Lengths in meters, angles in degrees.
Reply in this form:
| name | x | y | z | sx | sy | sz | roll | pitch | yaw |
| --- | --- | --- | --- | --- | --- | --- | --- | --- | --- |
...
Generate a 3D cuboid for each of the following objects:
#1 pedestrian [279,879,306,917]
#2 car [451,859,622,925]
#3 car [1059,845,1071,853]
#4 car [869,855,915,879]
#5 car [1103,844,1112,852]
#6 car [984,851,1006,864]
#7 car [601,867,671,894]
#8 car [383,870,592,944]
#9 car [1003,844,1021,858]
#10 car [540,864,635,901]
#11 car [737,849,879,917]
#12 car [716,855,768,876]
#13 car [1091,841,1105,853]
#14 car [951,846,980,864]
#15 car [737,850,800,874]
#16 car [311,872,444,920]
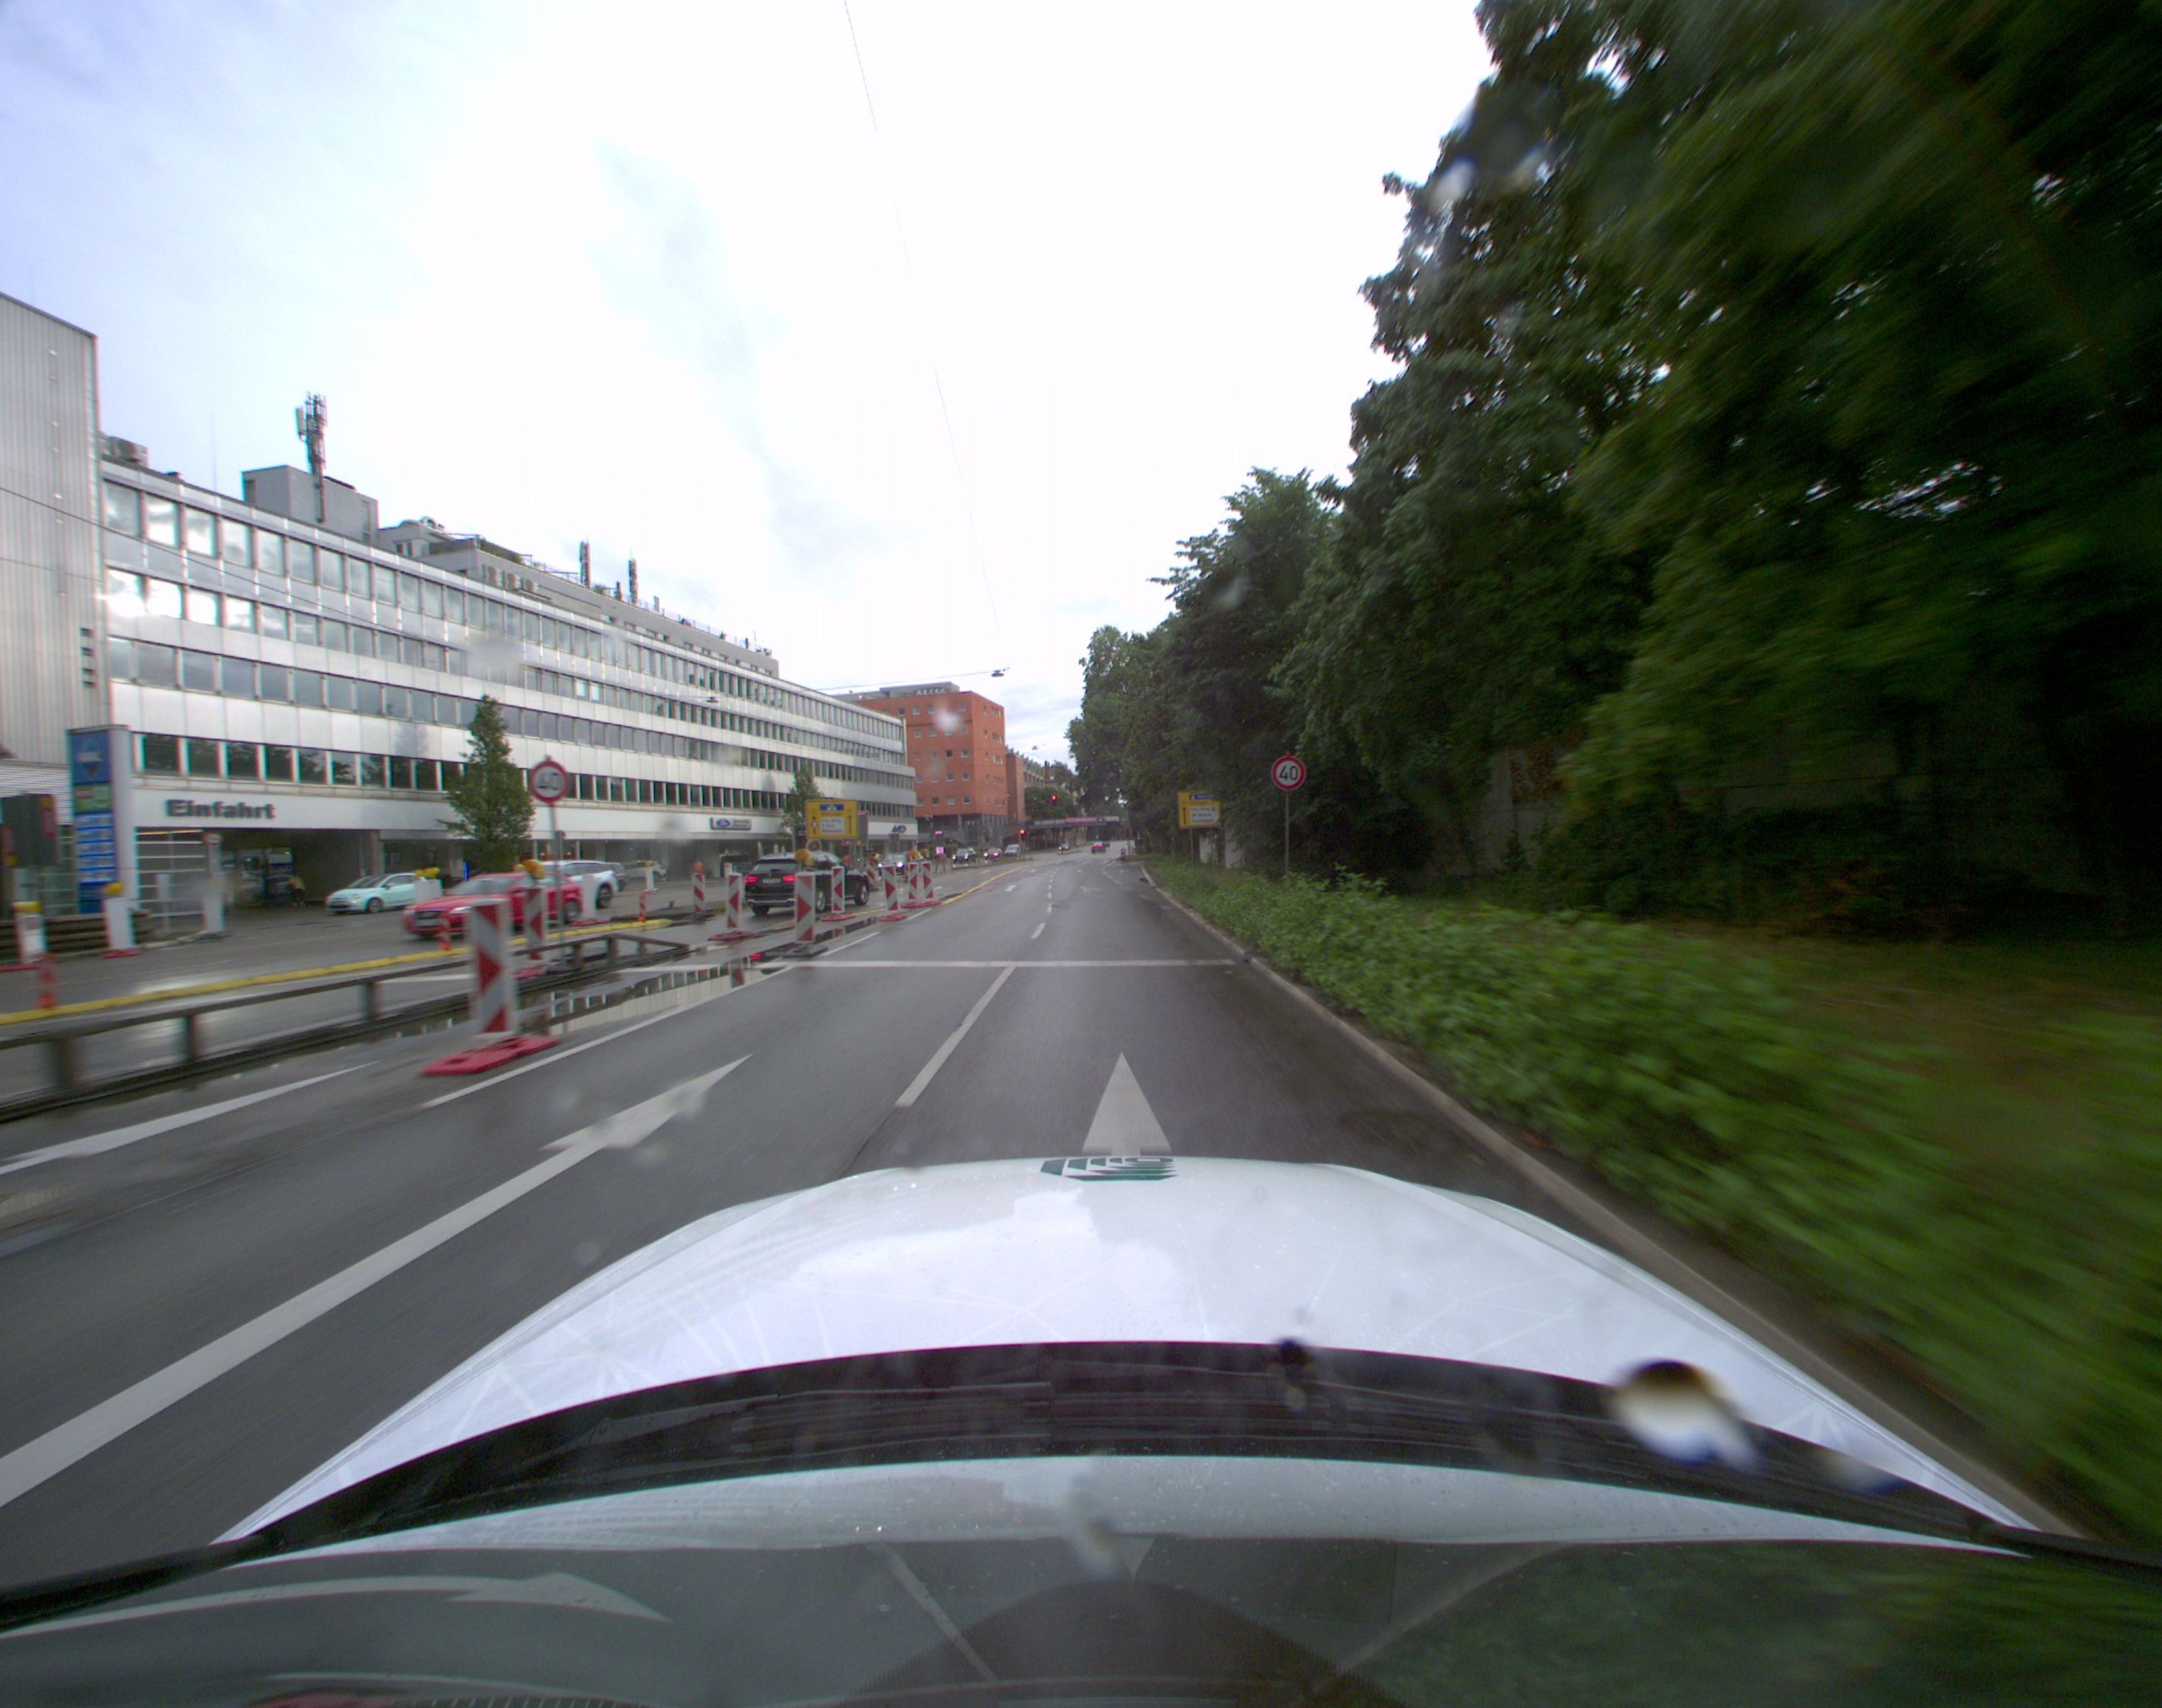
| name | x | y | z | sx | sy | sz | roll | pitch | yaw |
| --- | --- | --- | --- | --- | --- | --- | --- | --- | --- |
| pedestrian | -37.088 | 2.051 | 38.310 | 0.671 | 1.720 | 0.700 | -4 | 0 | -32 |
| car | -17.002 | 1.101 | 25.813 | 1.972 | 1.707 | 4.833 | -3 | 0 | 1 |
| car | -3.208 | -0.969 | 167.713 | 1.984 | 1.519 | 4.005 | -2 | 1 | 5 |
| car | -12.581 | 0.821 | 54.437 | 1.681 | 1.354 | 4.120 | -4 | 0 | 4 |
| car | 5.915 | -1.449 | 183.358 | 1.755 | 1.696 | 3.710 | -4 | 0 | 4 |
| car | -11.008 | 0.437 | 104.498 | 1.821 | 1.502 | 4.380 | -4 | 0 | 5 |
| car | -32.683 | 1.923 | 59.847 | 4.402 | 1.651 | 1.835 | -4 | 0 | -32 |
| car | -14.013 | 1.172 | 19.598 | 1.729 | 1.404 | 4.291 | -2 | 0 | 1 |
| car | -9.788 | -0.466 | 116.388 | 1.725 | 1.786 | 4.308 | -4 | 0 | 5 |
| car | -28.708 | 1.623 | 47.576 | 1.835 | 1.779 | 4.747 | -4 | 0 | 13 |
| car | -7.521 | 0.724 | 23.028 | 1.937 | 1.597 | 4.680 | 0 | 2 | 7 |
| car | -29.766 | 1.012 | 71.513 | 4.007 | 1.574 | 1.984 | -4 | 0 | -25 |
| car | 2.690 | -1.069 | 127.832 | 2.112 | 1.734 | 4.201 | 0 | 2 | 2 |
| car | -12.709 | 0.075 | 89.708 | 1.835 | 1.737 | 4.615 | -3 | 0 | 8 |
| car | -29.421 | 0.767 | 76.747 | 5.014 | 1.897 | 1.977 | -4 | 0 | -39 |
| car | -27.821 | 1.620 | 32.373 | 1.643 | 1.535 | 3.764 | -4 | 0 | 8 |
